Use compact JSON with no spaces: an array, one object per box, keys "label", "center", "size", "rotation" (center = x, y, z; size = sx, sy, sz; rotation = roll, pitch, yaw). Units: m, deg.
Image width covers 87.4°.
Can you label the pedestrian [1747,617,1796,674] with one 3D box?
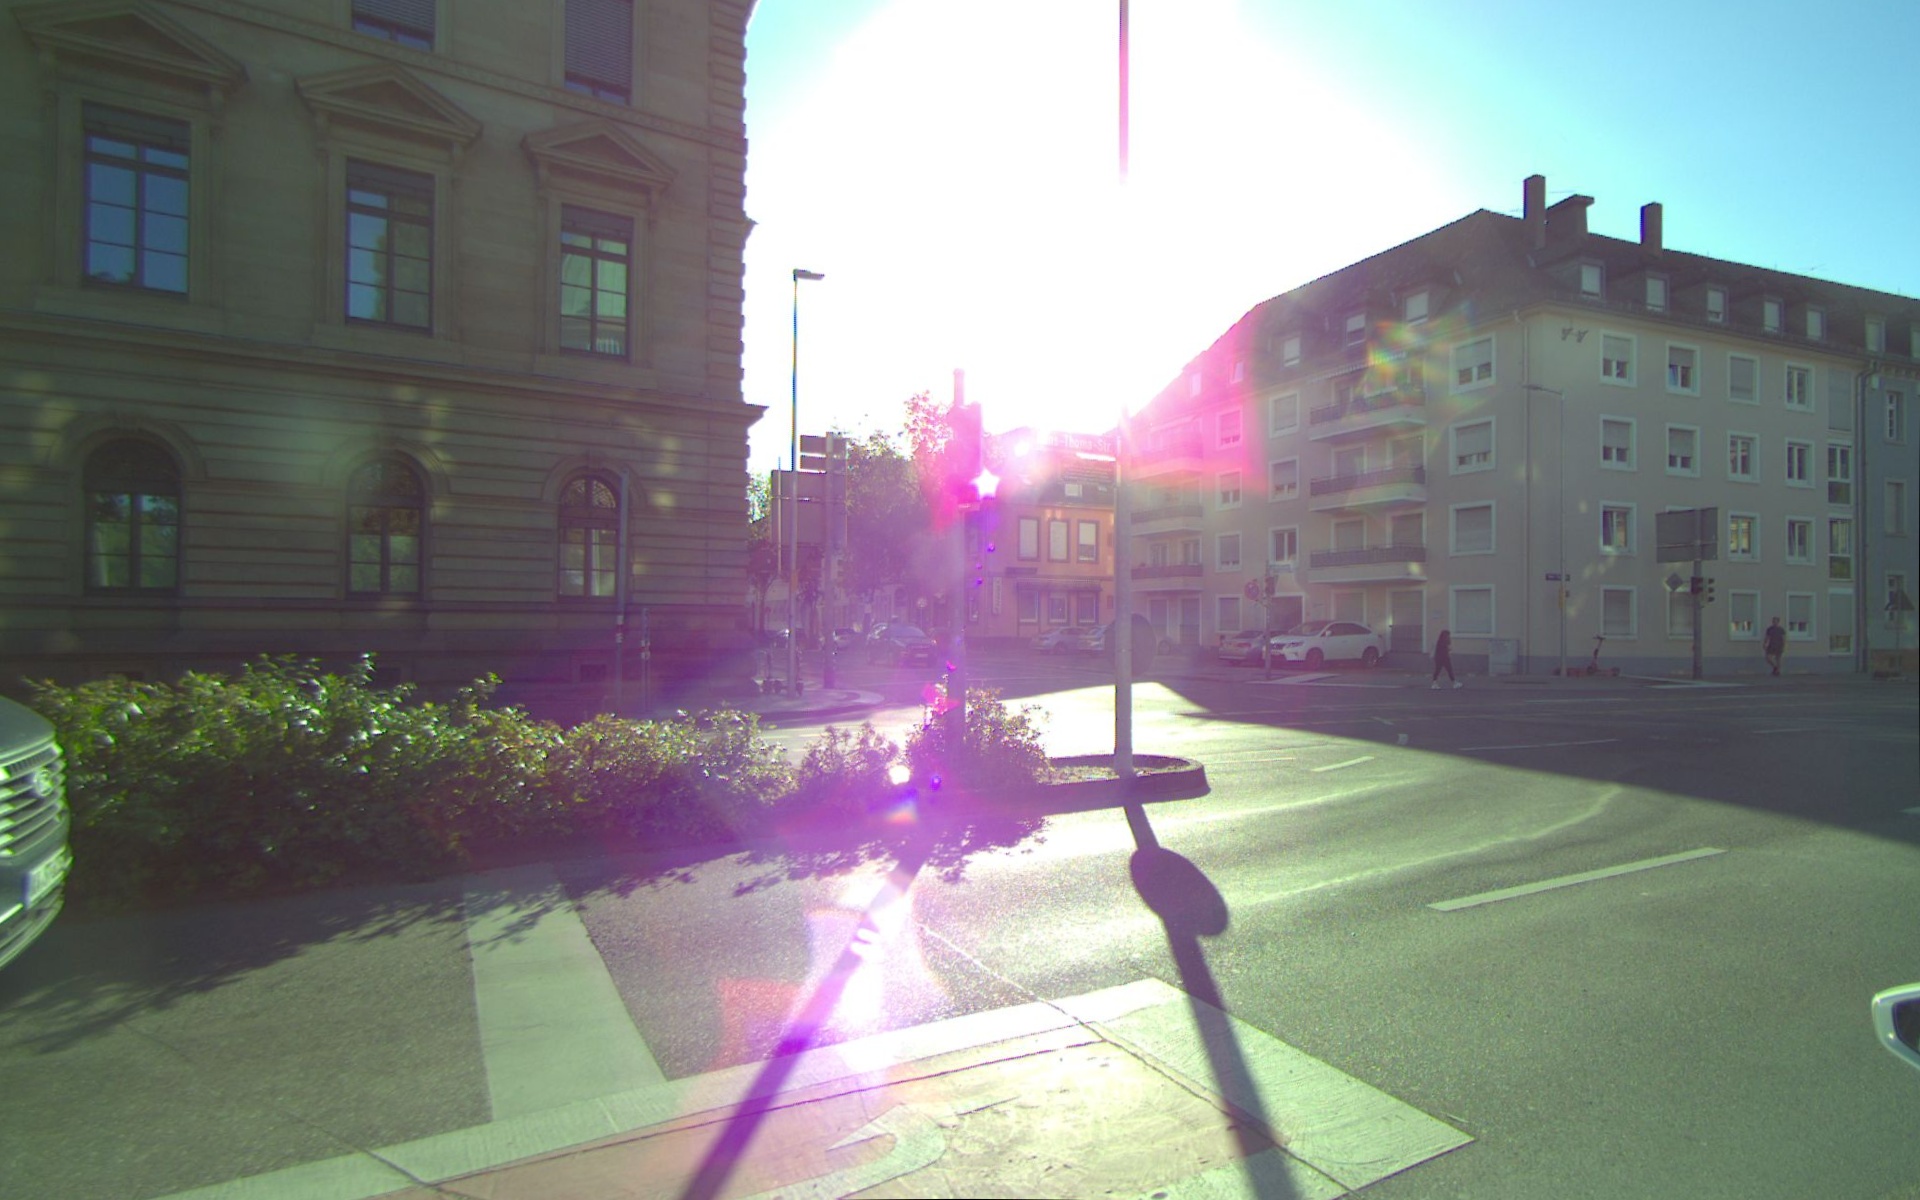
[{"label":"pedestrian","center":[27.468,1.533,33.996],"size":[0.999,1.888,0.866],"rotation":[1,1,-21]}]

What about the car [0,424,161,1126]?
[{"label":"car","center":[-5.266,0.439,2.376],"size":[4.976,1.940,2.058],"rotation":[2,-2,-31]}]

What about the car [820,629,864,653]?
[{"label":"car","center":[-7.858,2.698,66.534],"size":[1.680,1.469,3.974],"rotation":[1,-2,-26]}]

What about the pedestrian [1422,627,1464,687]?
[{"label":"pedestrian","center":[13.212,1.546,27.469],"size":[0.806,1.605,0.630],"rotation":[1,1,-22]}]

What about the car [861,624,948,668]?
[{"label":"car","center":[-2.233,1.766,39.210],"size":[1.971,1.593,4.663],"rotation":[1,-2,-23]}]

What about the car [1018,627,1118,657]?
[{"label":"car","center":[5.466,2.107,50.683],"size":[4.722,1.451,1.988],"rotation":[1,-2,-26]}]

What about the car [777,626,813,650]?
[{"label":"car","center":[-12.275,2.795,74.668],"size":[1.697,1.780,3.823],"rotation":[1,-2,-25]}]

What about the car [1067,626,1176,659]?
[{"label":"car","center":[7.467,1.930,46.344],"size":[4.722,1.451,1.988],"rotation":[1,-2,-26]}]

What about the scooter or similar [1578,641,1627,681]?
[{"label":"scooter or similar","center":[20.019,1.885,31.297],"size":[1.452,1.201,0.532],"rotation":[1,0,-21]}]

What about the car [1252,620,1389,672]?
[{"label":"car","center":[12.742,1.592,35.459],"size":[4.555,1.708,1.986],"rotation":[1,-2,-27]}]

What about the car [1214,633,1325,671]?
[{"label":"car","center":[11.547,1.912,37.457],"size":[3.948,1.327,1.600],"rotation":[1,-2,-27]}]

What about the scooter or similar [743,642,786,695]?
[{"label":"scooter or similar","center":[-4.267,1.460,21.852],"size":[0.450,1.066,2.021],"rotation":[1,-2,-25]}]

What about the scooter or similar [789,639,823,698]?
[{"label":"scooter or similar","center":[-3.360,1.465,22.000],"size":[0.447,1.204,2.034],"rotation":[0,-2,0]}]

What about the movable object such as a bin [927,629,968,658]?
[{"label":"movable object such as a bin","center":[-0.664,2.254,52.579],"size":[1.866,1.474,1.104],"rotation":[1,-2,-28]}]
